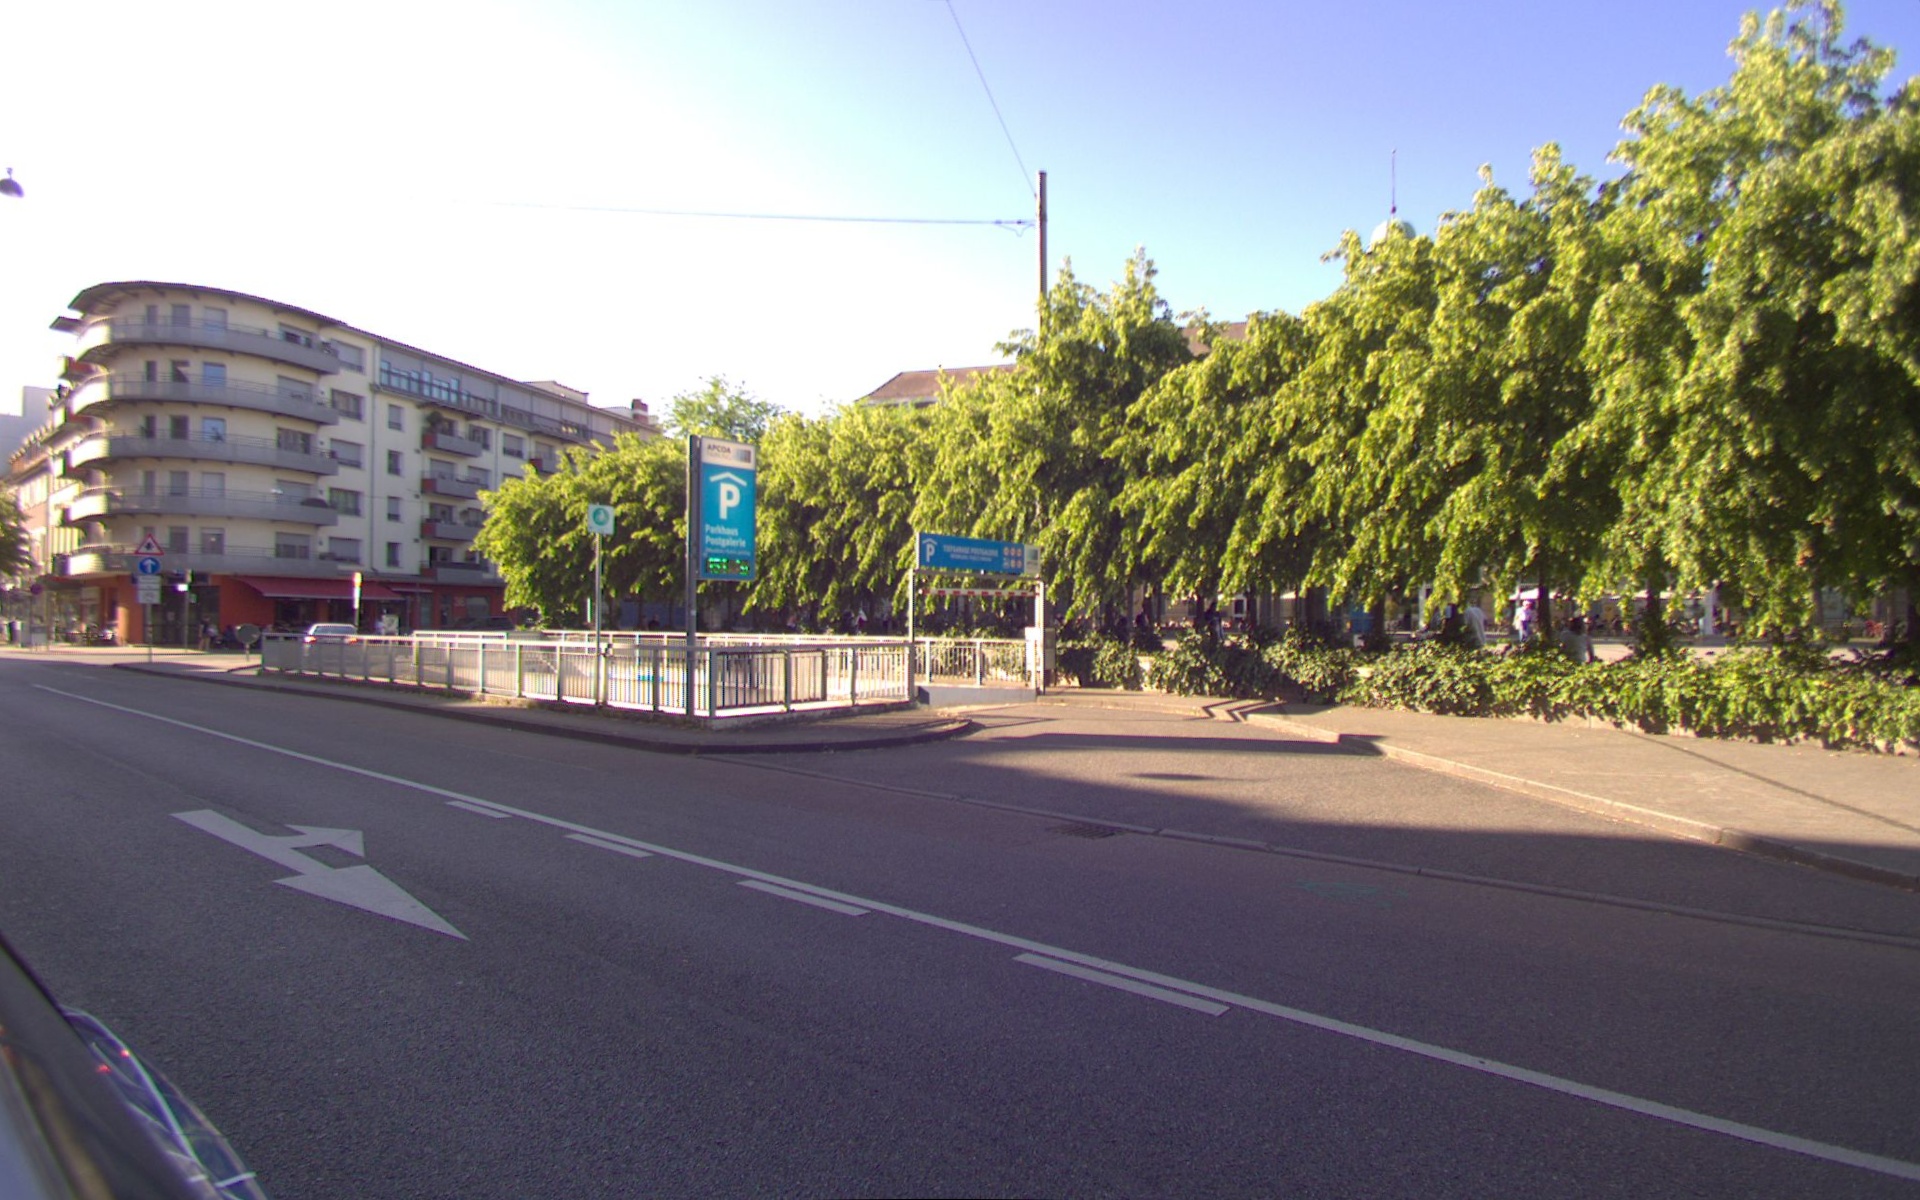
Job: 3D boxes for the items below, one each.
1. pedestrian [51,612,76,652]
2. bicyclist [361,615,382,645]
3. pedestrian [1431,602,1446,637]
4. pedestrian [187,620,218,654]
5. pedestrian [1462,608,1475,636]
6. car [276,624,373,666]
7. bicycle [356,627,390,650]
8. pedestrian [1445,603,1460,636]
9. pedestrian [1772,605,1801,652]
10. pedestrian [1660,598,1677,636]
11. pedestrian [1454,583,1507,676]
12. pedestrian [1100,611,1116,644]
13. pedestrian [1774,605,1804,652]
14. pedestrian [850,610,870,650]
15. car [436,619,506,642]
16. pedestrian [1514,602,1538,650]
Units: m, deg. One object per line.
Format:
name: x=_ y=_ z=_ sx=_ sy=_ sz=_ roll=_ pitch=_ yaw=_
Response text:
pedestrian: x=-46.711 y=1.674 z=52.740 sx=0.888 sy=2.029 sz=0.850 roll=-1 pitch=0 yaw=40
bicyclist: x=-31.190 y=1.567 z=53.671 sx=0.521 sy=1.559 sz=0.792 roll=-1 pitch=0 yaw=22
pedestrian: x=24.547 y=0.995 z=51.918 sx=0.643 sy=1.734 sz=0.603 roll=-1 pitch=0 yaw=26
pedestrian: x=-36.613 y=1.796 z=48.929 sx=0.877 sy=1.607 sz=0.861 roll=-1 pitch=0 yaw=2
pedestrian: x=32.214 y=1.402 z=64.159 sx=0.642 sy=1.734 sz=0.604 roll=-1 pitch=0 yaw=20
car: x=-22.649 y=1.592 z=36.018 sx=4.264 sy=1.363 sz=1.799 roll=0 pitch=-3 yaw=42
bicycle: x=-31.166 y=2.030 z=53.719 sx=0.524 sy=1.179 sz=1.581 roll=-1 pitch=0 yaw=22
pedestrian: x=25.745 y=1.012 z=52.888 sx=0.643 sy=1.734 sz=0.603 roll=-1 pitch=0 yaw=26
pedestrian: x=30.552 y=1.047 z=37.424 sx=0.641 sy=1.734 sz=0.605 roll=-1 pitch=0 yaw=18
pedestrian: x=36.347 y=0.860 z=51.910 sx=0.676 sy=1.963 sz=0.632 roll=-1 pitch=0 yaw=38
pedestrian: x=9.587 y=0.527 z=18.644 sx=0.645 sy=1.661 sz=0.626 roll=-1 pitch=0 yaw=-35
pedestrian: x=7.990 y=1.479 z=54.561 sx=0.606 sy=1.734 sz=0.640 roll=-1 pitch=0 yaw=31
pedestrian: x=30.683 y=1.046 z=37.458 sx=0.640 sy=1.734 sz=0.606 roll=-1 pitch=0 yaw=13
pedestrian: x=-4.378 y=1.317 z=44.255 sx=0.604 sy=1.734 sz=0.642 roll=-1 pitch=0 yaw=21
car: x=-30.507 y=1.888 z=63.216 sx=1.742 sy=1.311 sz=3.977 roll=-1 pitch=-1 yaw=17
pedestrian: x=20.676 y=0.949 z=36.976 sx=0.643 sy=1.734 sz=0.604 roll=-1 pitch=0 yaw=22
